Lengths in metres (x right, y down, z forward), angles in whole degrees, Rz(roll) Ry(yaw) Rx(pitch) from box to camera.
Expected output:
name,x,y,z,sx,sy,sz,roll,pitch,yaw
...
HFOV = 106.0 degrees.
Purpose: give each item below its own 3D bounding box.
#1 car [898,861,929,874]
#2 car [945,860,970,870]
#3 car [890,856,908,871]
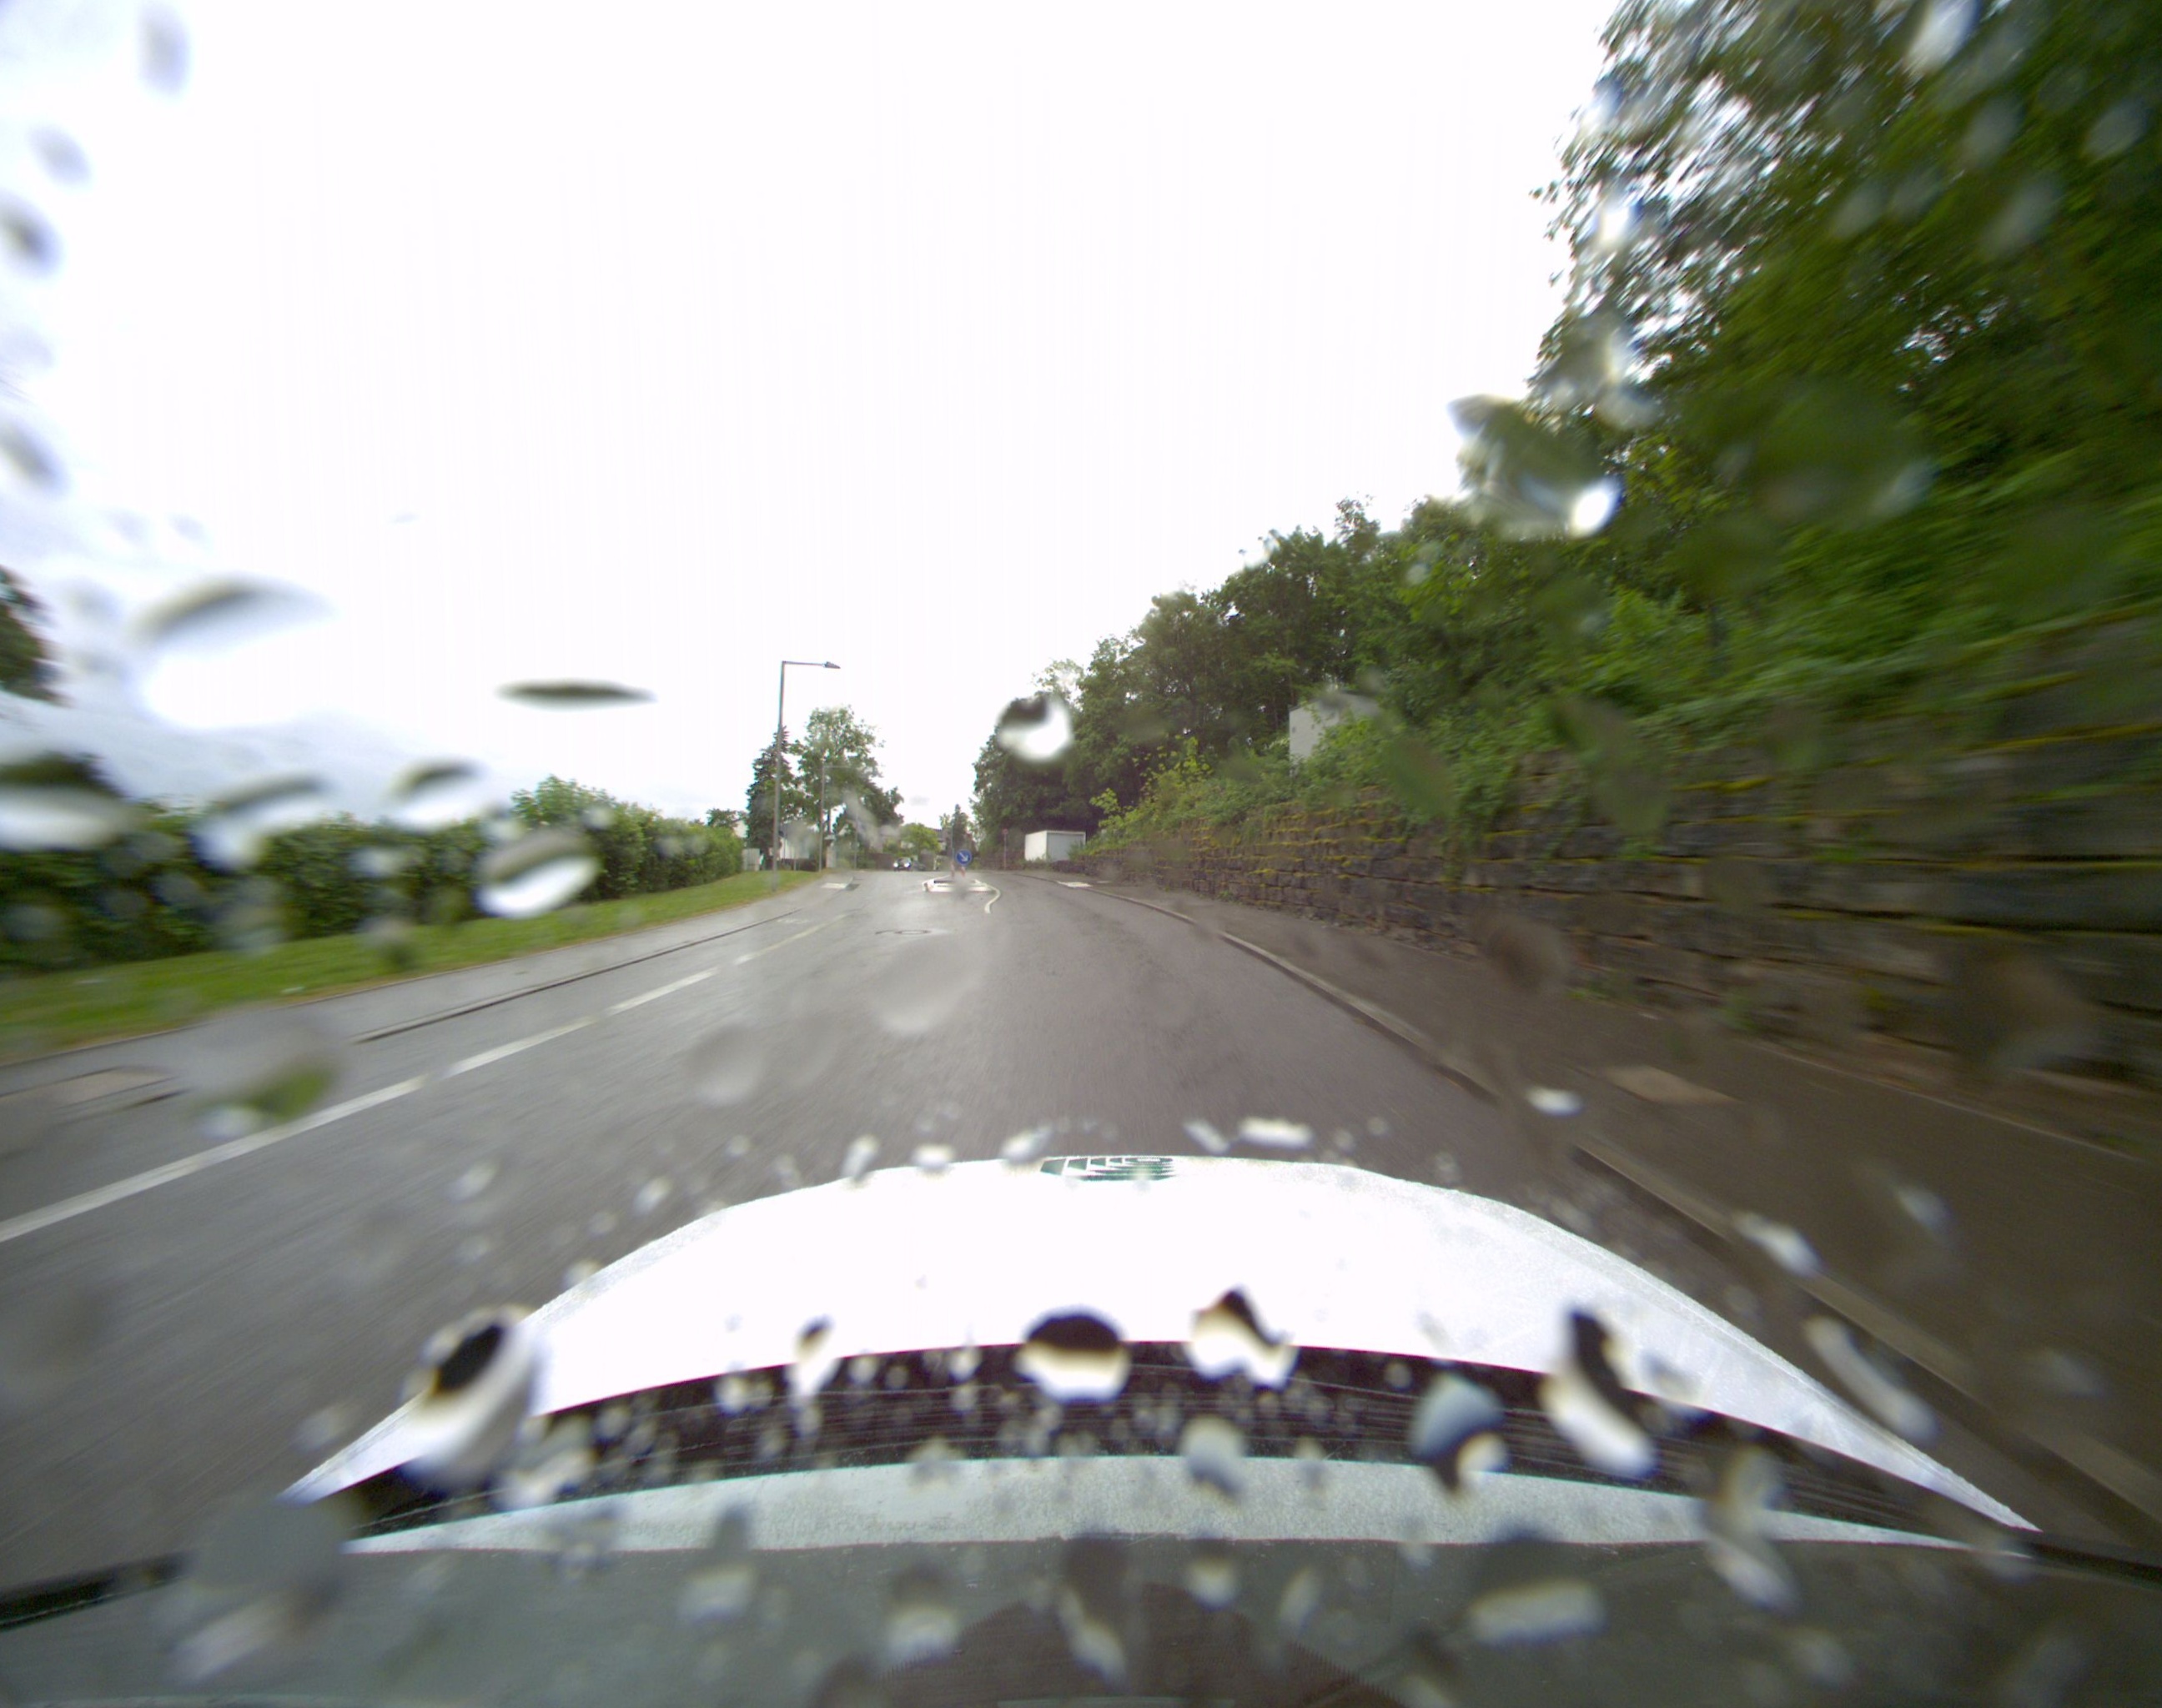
name,x,y,z,sx,sy,sz,roll,pitch,yaw
car,-23.461,1.858,114.024,3.949,1.632,2.026,2,-2,40
car,-18.688,1.609,123.104,1.949,1.389,3.956,5,-3,-36
car,-20.103,1.040,89.716,1.834,1.520,4.604,-1,0,-14
